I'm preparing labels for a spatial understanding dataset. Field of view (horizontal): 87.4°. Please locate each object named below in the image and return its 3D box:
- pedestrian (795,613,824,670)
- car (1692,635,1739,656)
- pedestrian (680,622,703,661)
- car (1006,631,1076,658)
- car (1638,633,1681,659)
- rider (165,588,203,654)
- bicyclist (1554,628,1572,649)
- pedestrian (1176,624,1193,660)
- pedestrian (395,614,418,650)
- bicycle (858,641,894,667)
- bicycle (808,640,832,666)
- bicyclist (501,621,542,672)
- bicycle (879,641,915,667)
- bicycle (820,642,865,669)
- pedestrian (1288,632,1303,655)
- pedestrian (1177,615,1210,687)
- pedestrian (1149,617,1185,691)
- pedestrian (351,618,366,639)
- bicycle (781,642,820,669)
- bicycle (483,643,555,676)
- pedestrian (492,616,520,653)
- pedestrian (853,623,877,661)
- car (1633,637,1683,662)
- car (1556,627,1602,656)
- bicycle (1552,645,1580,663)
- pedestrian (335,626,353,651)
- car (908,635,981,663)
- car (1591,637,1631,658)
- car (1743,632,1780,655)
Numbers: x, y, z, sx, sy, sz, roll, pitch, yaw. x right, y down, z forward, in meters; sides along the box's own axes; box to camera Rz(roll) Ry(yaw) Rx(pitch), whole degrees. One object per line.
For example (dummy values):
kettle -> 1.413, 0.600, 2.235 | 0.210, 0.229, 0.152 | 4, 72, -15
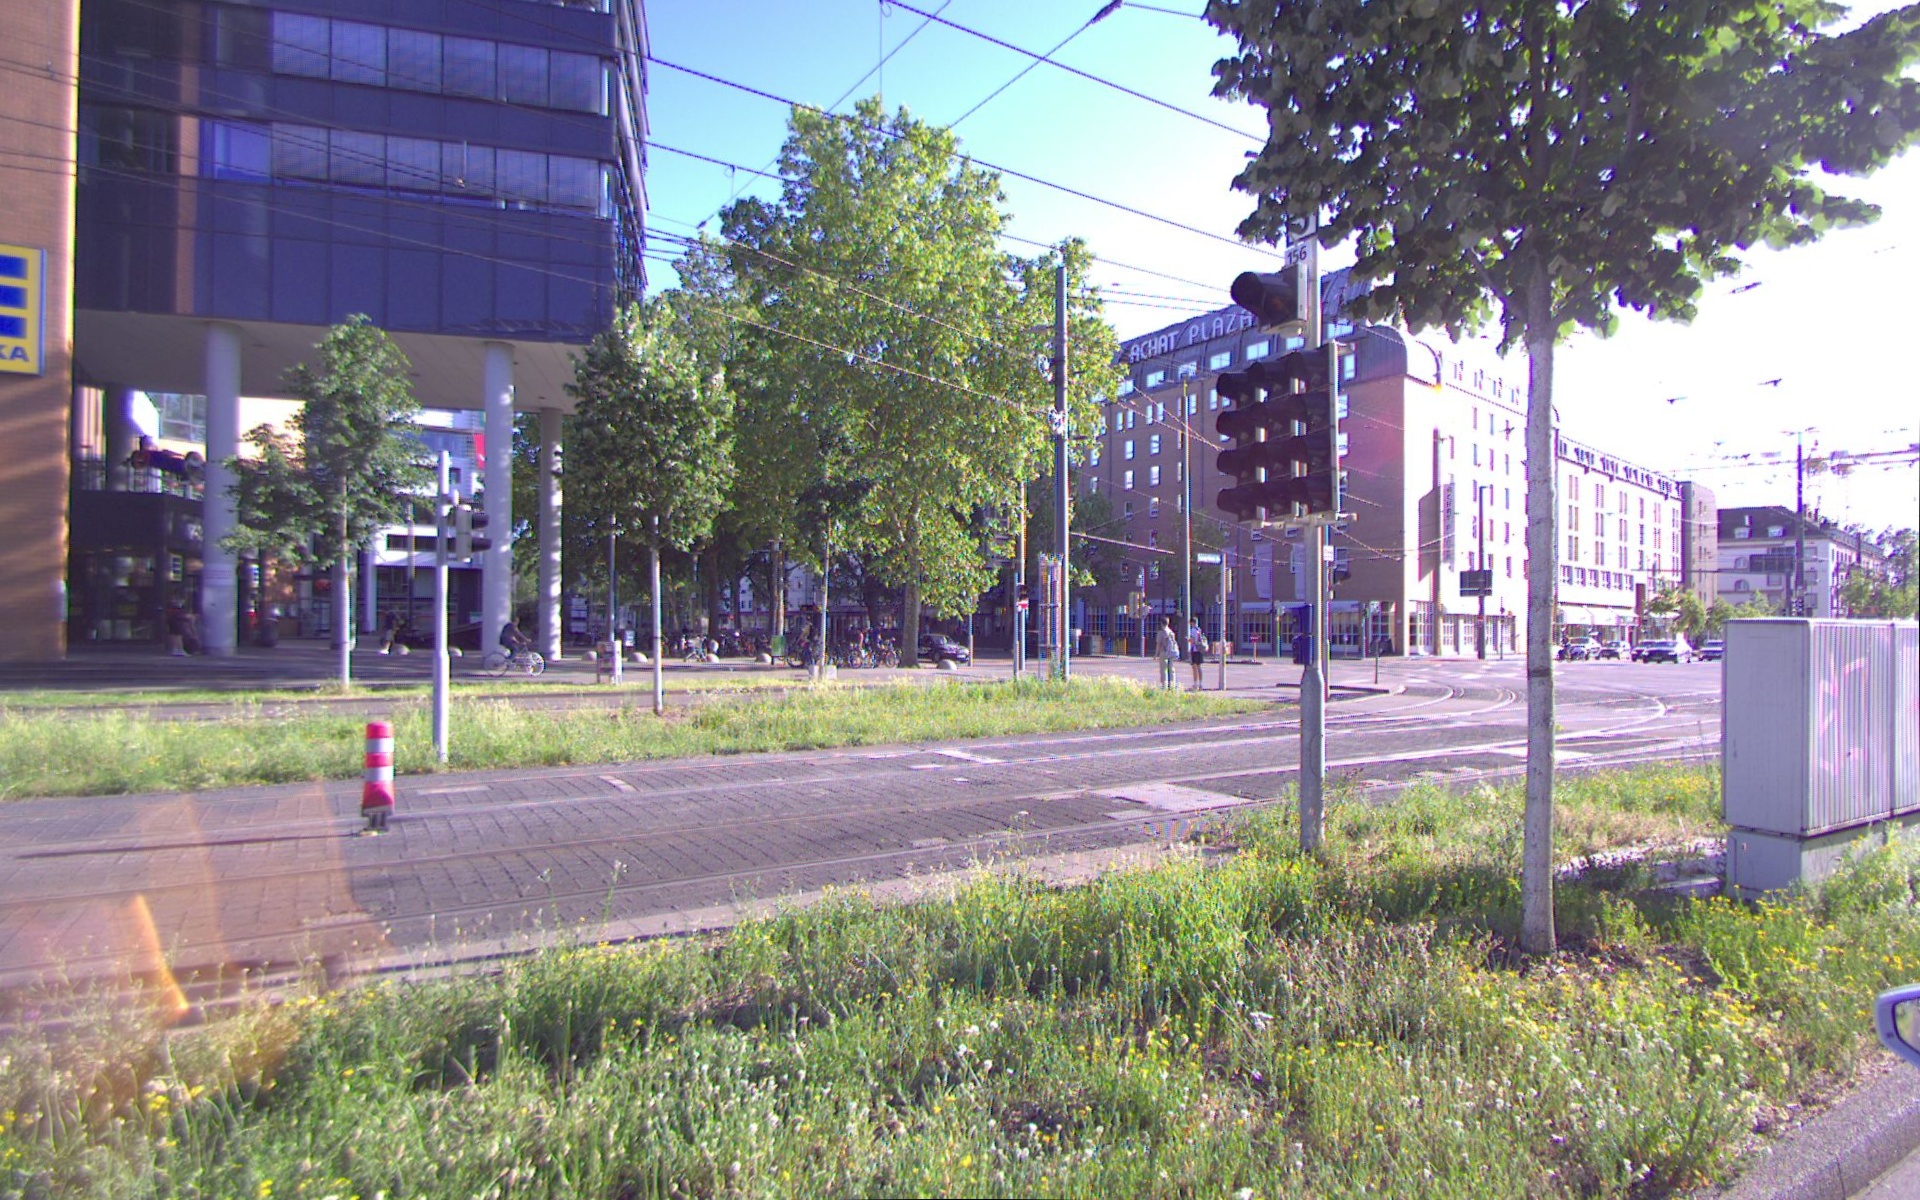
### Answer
pedestrian -> -5.484, 1.492, 36.576 | 0.826, 2.040, 0.730 | 1, 0, -26
car -> 53.756, 3.222, 71.496 | 3.960, 1.468, 1.562 | 1, -2, -35
pedestrian -> -11.615, 1.811, 43.514 | 0.826, 1.667, 0.730 | 1, -1, -26
car -> 4.487, 2.463, 56.213 | 1.743, 1.439, 3.959 | 1, -2, -36
car -> 43.252, 2.818, 62.111 | 1.726, 1.524, 3.859 | -1, -2, 42
rider -> -21.684, 0.588, 28.086 | 0.704, 1.826, 0.714 | 1, -1, -30
bicyclist -> 38.886, 2.479, 64.759 | 0.942, 1.393, 0.752 | 1, -1, -38
pedestrian -> 12.843, 2.395, 57.482 | 0.670, 2.040, 0.663 | 1, -1, -29
pedestrian -> -27.433, 1.588, 49.791 | 0.794, 1.730, 0.789 | 1, 0, -13
bicycle -> -3.275, 2.089, 39.001 | 0.536, 0.964, 1.753 | 1, -1, -37
bicycle -> -5.482, 2.053, 39.455 | 0.530, 0.964, 1.772 | 0, -1, 6
bicyclist -> -12.823, 1.350, 29.380 | 1.006, 1.484, 0.674 | 1, -1, -33
bicycle -> -2.473, 2.109, 39.224 | 0.536, 0.964, 1.753 | 1, -1, -37
bicycle -> -4.430, 2.089, 37.855 | 1.741, 0.964, 0.540 | 0, -1, 34
pedestrian -> 22.836, 2.952, 68.394 | 0.652, 1.523, 0.672 | 1, -1, -33
pedestrian -> 6.097, 1.321, 26.259 | 0.657, 1.841, 0.559 | 1, -1, -37
pedestrian -> 5.256, 1.360, 25.520 | 0.657, 1.854, 0.627 | 1, -1, -37
pedestrian -> -38.544, 1.807, 64.339 | 0.651, 1.294, 0.636 | 1, 0, -13
bicycle -> -6.054, 2.100, 38.099 | 0.538, 0.964, 1.748 | 2, -2, -45
bicycle -> -12.881, 1.718, 29.335 | 1.868, 0.922, 0.495 | 1, -1, -33
pedestrian -> -22.168, 1.685, 49.057 | 1.091, 1.730, 0.789 | 1, 0, -14
pedestrian -> -4.212, 1.865, 44.525 | 0.826, 1.619, 0.730 | 1, 0, -26
car -> 47.940, 3.339, 68.957 | 4.706, 1.617, 1.974 | 2, -2, -44
car -> 46.406, 3.097, 75.293 | 3.973, 2.040, 1.974 | 2, -2, -44
bicycle -> 39.307, 3.474, 65.145 | 2.901, 1.099, 0.645 | 2, -2, -39
pedestrian -> -38.403, 2.397, 62.650 | 0.647, 1.500, 1.053 | 1, 0, -13
car -> -0.826, 2.435, 50.324 | 1.977, 1.283, 3.967 | 1, -2, -31
car -> 52.015, 3.777, 80.249 | 3.973, 1.530, 1.866 | 2, -2, -44
car -> 54.411, 2.917, 68.201 | 1.726, 1.524, 3.859 | -1, -2, 42
